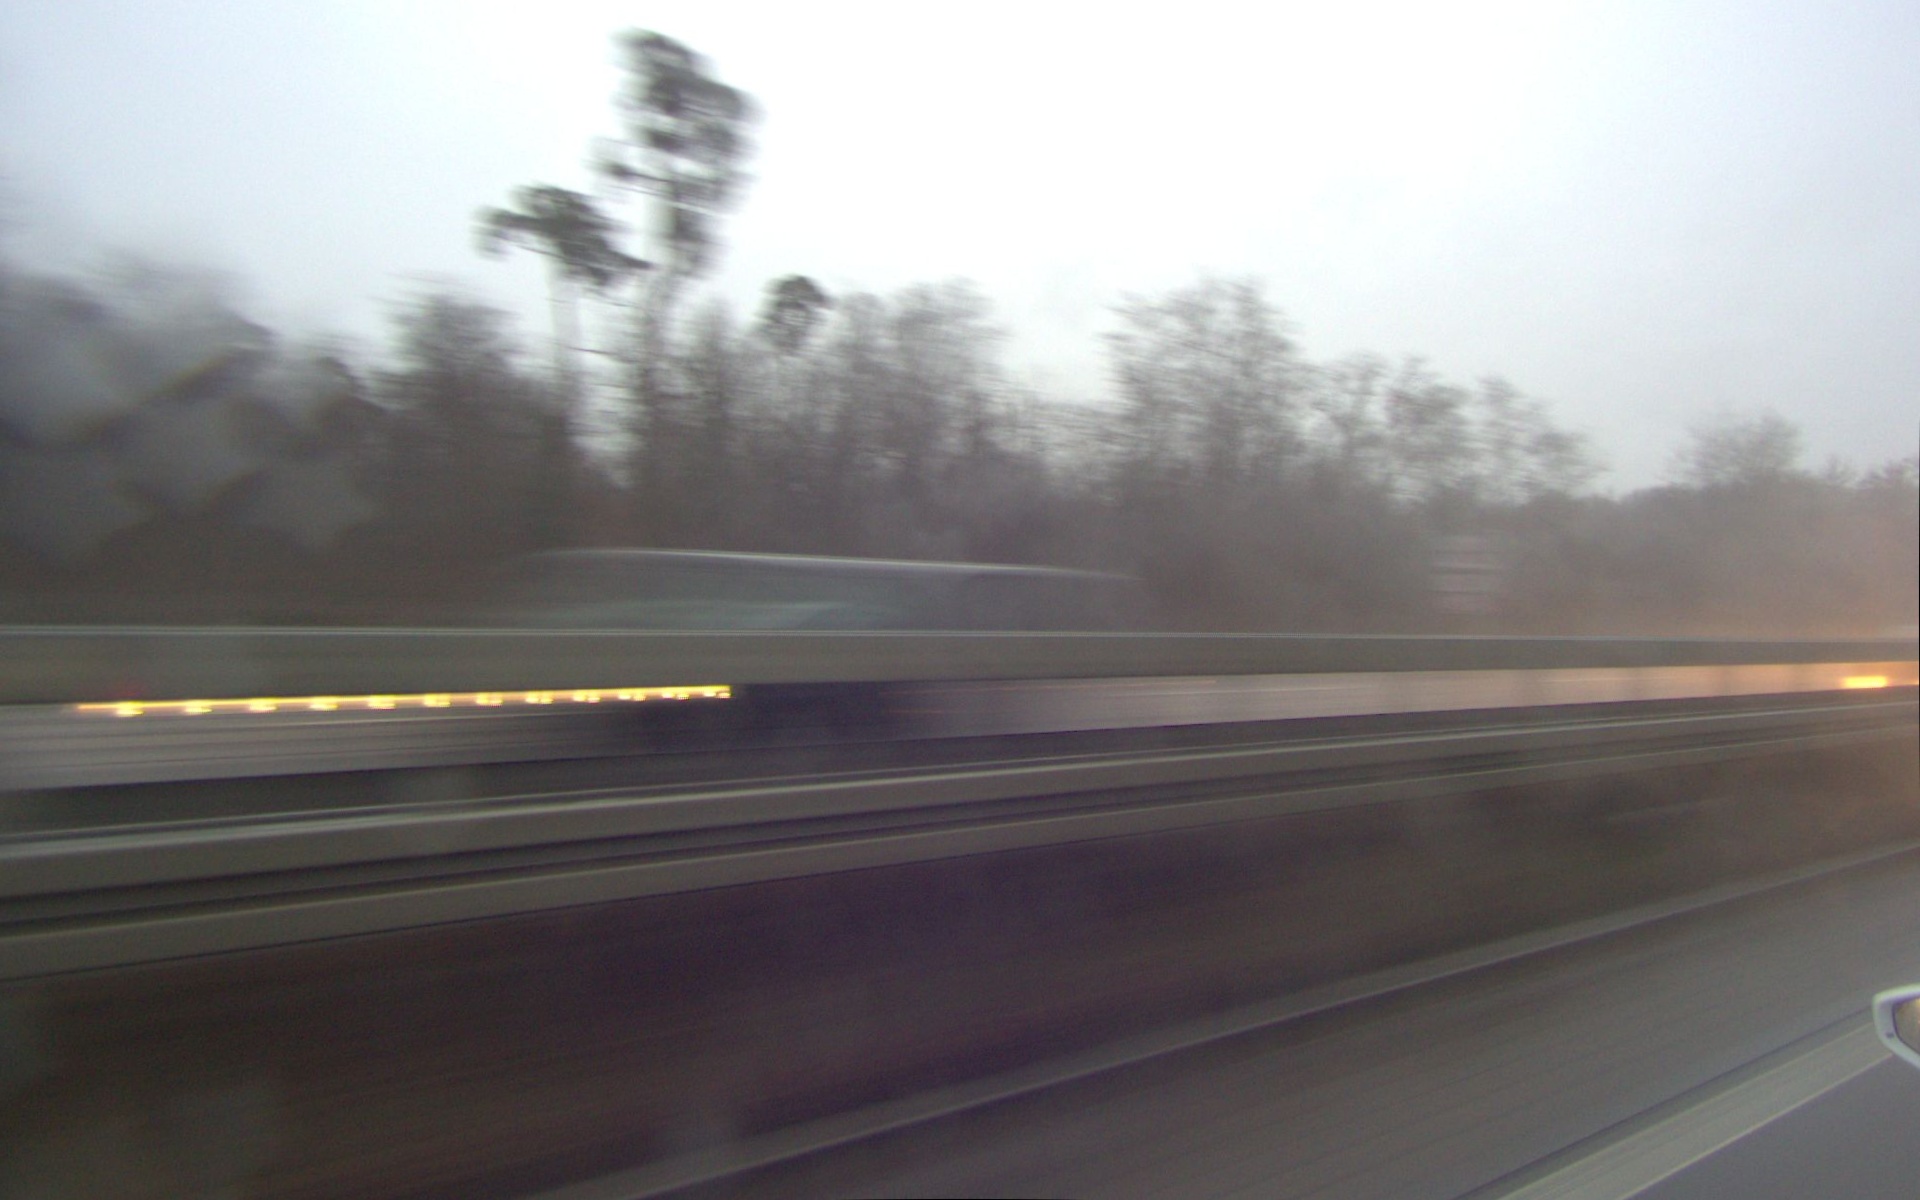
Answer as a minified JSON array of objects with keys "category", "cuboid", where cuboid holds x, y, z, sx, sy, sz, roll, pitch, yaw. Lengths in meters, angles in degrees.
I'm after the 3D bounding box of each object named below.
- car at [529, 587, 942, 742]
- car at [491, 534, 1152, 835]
[{"category":"car","cuboid":[-2.543,0.681,11.685,4.365,1.480,1.718,2,1,-30]},{"category":"car","cuboid":[-0.881,0.477,7.216,4.365,1.610,1.718,2,1,-30]}]
